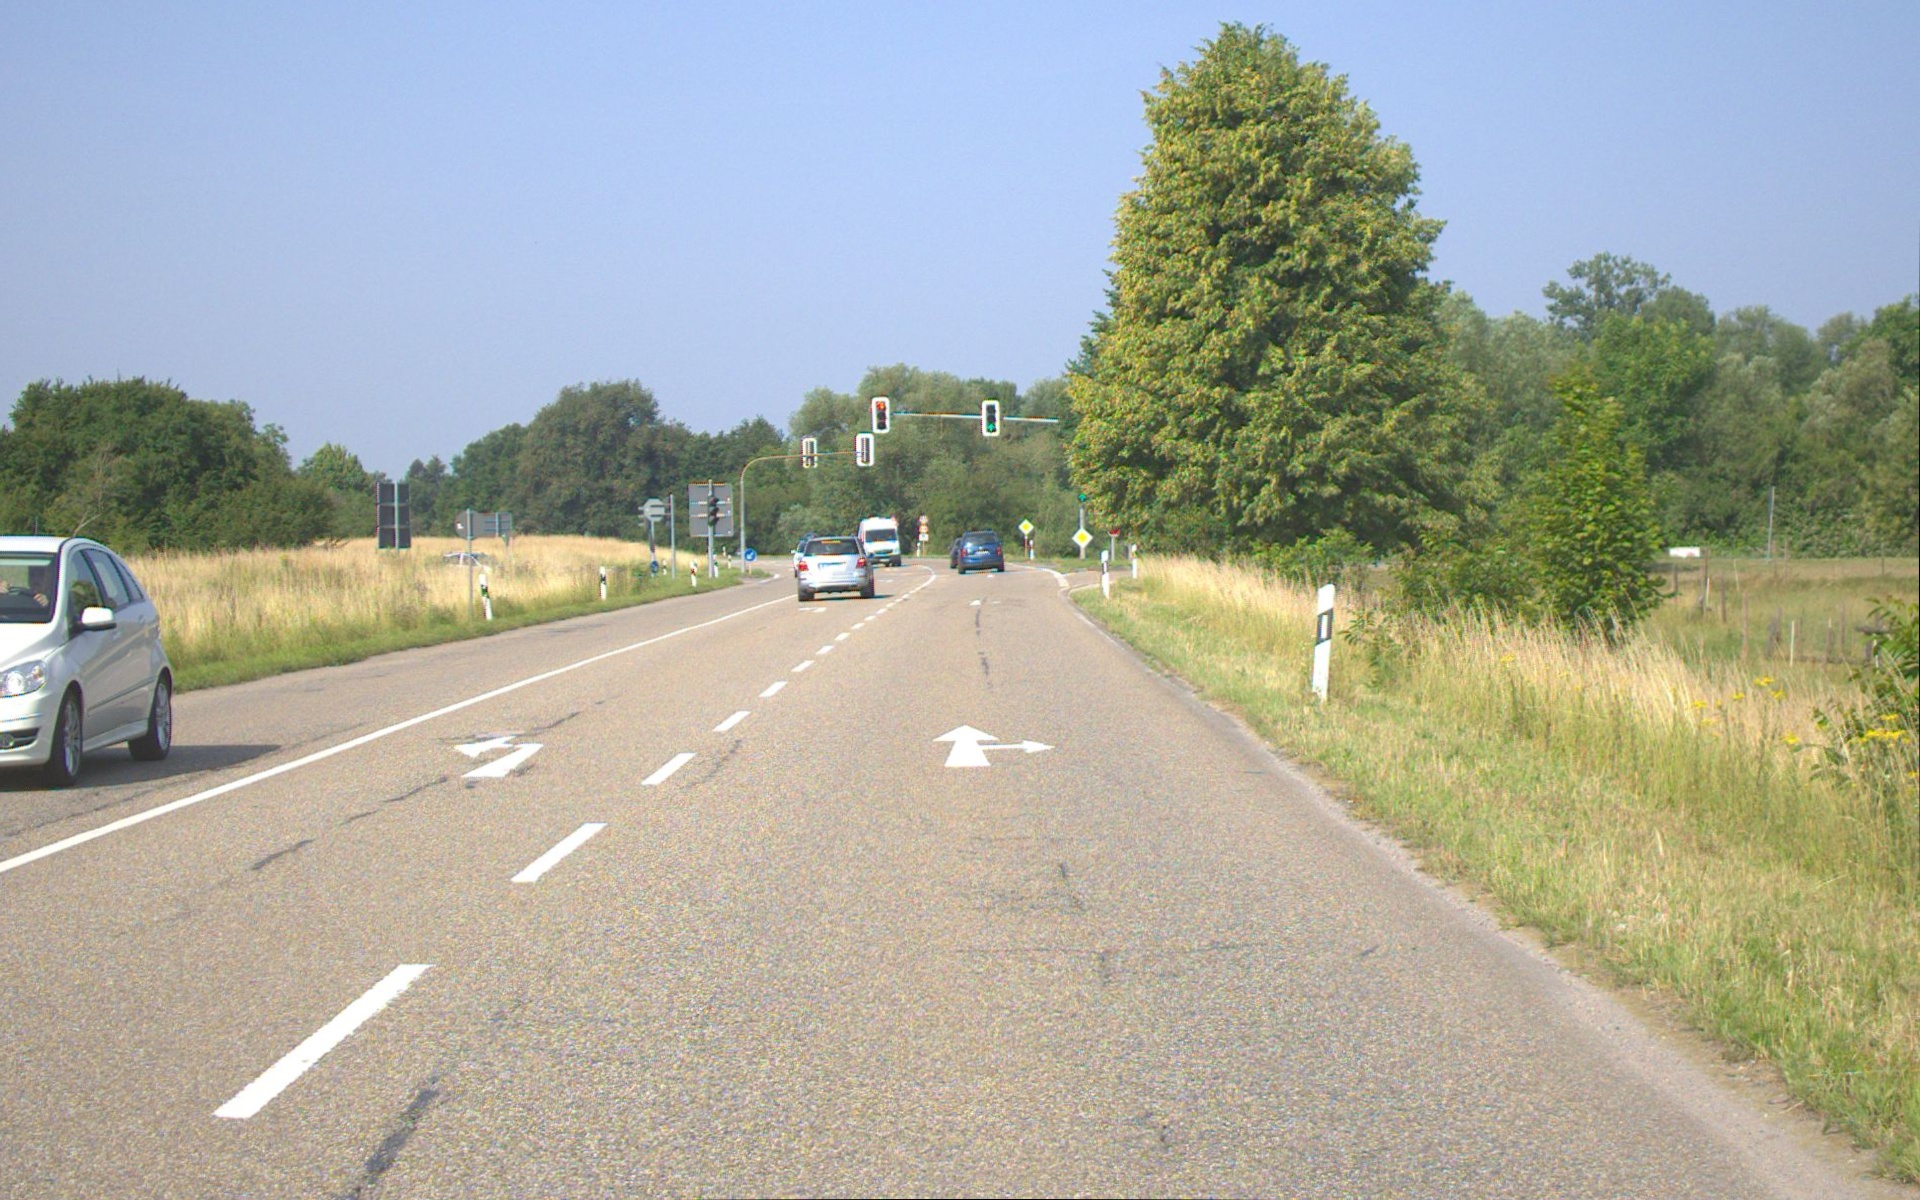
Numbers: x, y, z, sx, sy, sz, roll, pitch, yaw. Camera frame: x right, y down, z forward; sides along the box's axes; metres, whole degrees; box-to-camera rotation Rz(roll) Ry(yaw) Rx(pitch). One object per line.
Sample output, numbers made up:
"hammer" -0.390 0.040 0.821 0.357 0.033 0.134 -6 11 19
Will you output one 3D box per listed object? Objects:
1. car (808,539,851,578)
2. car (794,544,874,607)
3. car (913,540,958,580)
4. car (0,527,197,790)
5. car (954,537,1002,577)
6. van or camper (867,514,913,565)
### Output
"car" -6.025 -1.937 158.845 1.592 1.722 4.000 1 1 3
"car" -3.192 -0.646 87.890 1.899 1.506 4.000 1 1 0
"car" -1.140 -1.893 160.838 1.993 1.809 4.000 1 1 0
"car" -6.431 0.319 22.794 1.812 1.579 4.225 -1 1 0
"car" 0.722 -1.721 135.557 1.816 1.515 4.000 1 1 1
"van or camper" -3.787 -3.281 187.133 2.265 2.700 5.262 1 1 1
